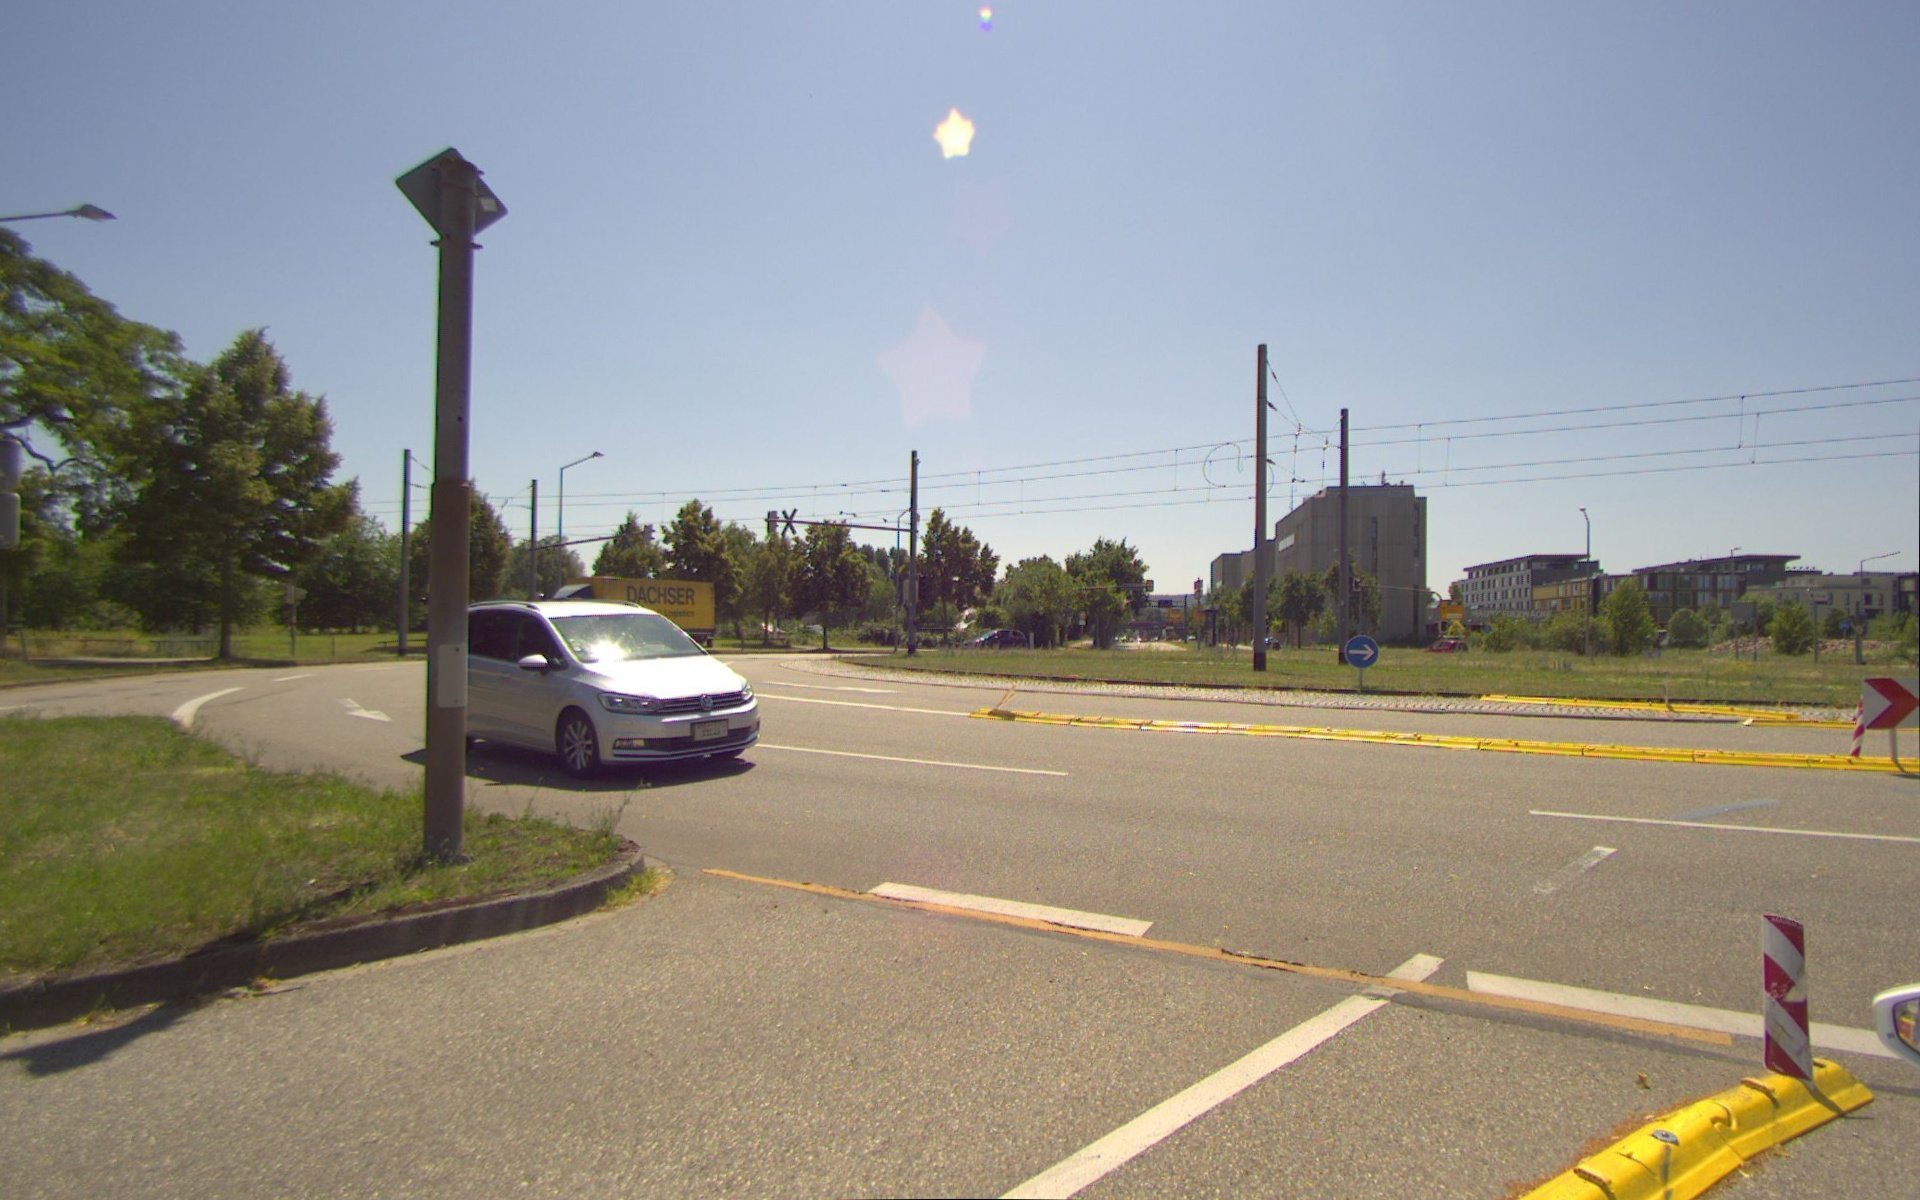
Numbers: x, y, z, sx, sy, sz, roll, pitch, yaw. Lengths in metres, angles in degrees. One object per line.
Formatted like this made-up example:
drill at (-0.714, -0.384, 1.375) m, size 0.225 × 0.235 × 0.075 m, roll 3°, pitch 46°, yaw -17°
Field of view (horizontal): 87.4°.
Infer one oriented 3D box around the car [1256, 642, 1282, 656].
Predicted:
car at (30.097, 4.784, 98.011) m, size 1.524 × 1.208 × 3.478 m, roll 1°, pitch -1°, yaw 1°

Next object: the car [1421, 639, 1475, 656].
car at (35.143, 3.393, 72.392) m, size 1.475 × 1.104 × 3.505 m, roll 1°, pitch -2°, yaw -20°

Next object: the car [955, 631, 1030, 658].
car at (1.857, 2.557, 57.686) m, size 3.998 × 1.480 × 1.717 m, roll 2°, pitch -2°, yaw -28°

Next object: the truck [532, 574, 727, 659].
truck at (-15.689, 0.893, 48.703) m, size 2.659 × 3.707 × 9.598 m, roll 0°, pitch -2°, yaw 30°

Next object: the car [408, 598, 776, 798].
car at (-4.062, 0.846, 10.658) m, size 4.539 × 1.671 × 1.796 m, roll -1°, pitch 0°, yaw 43°
